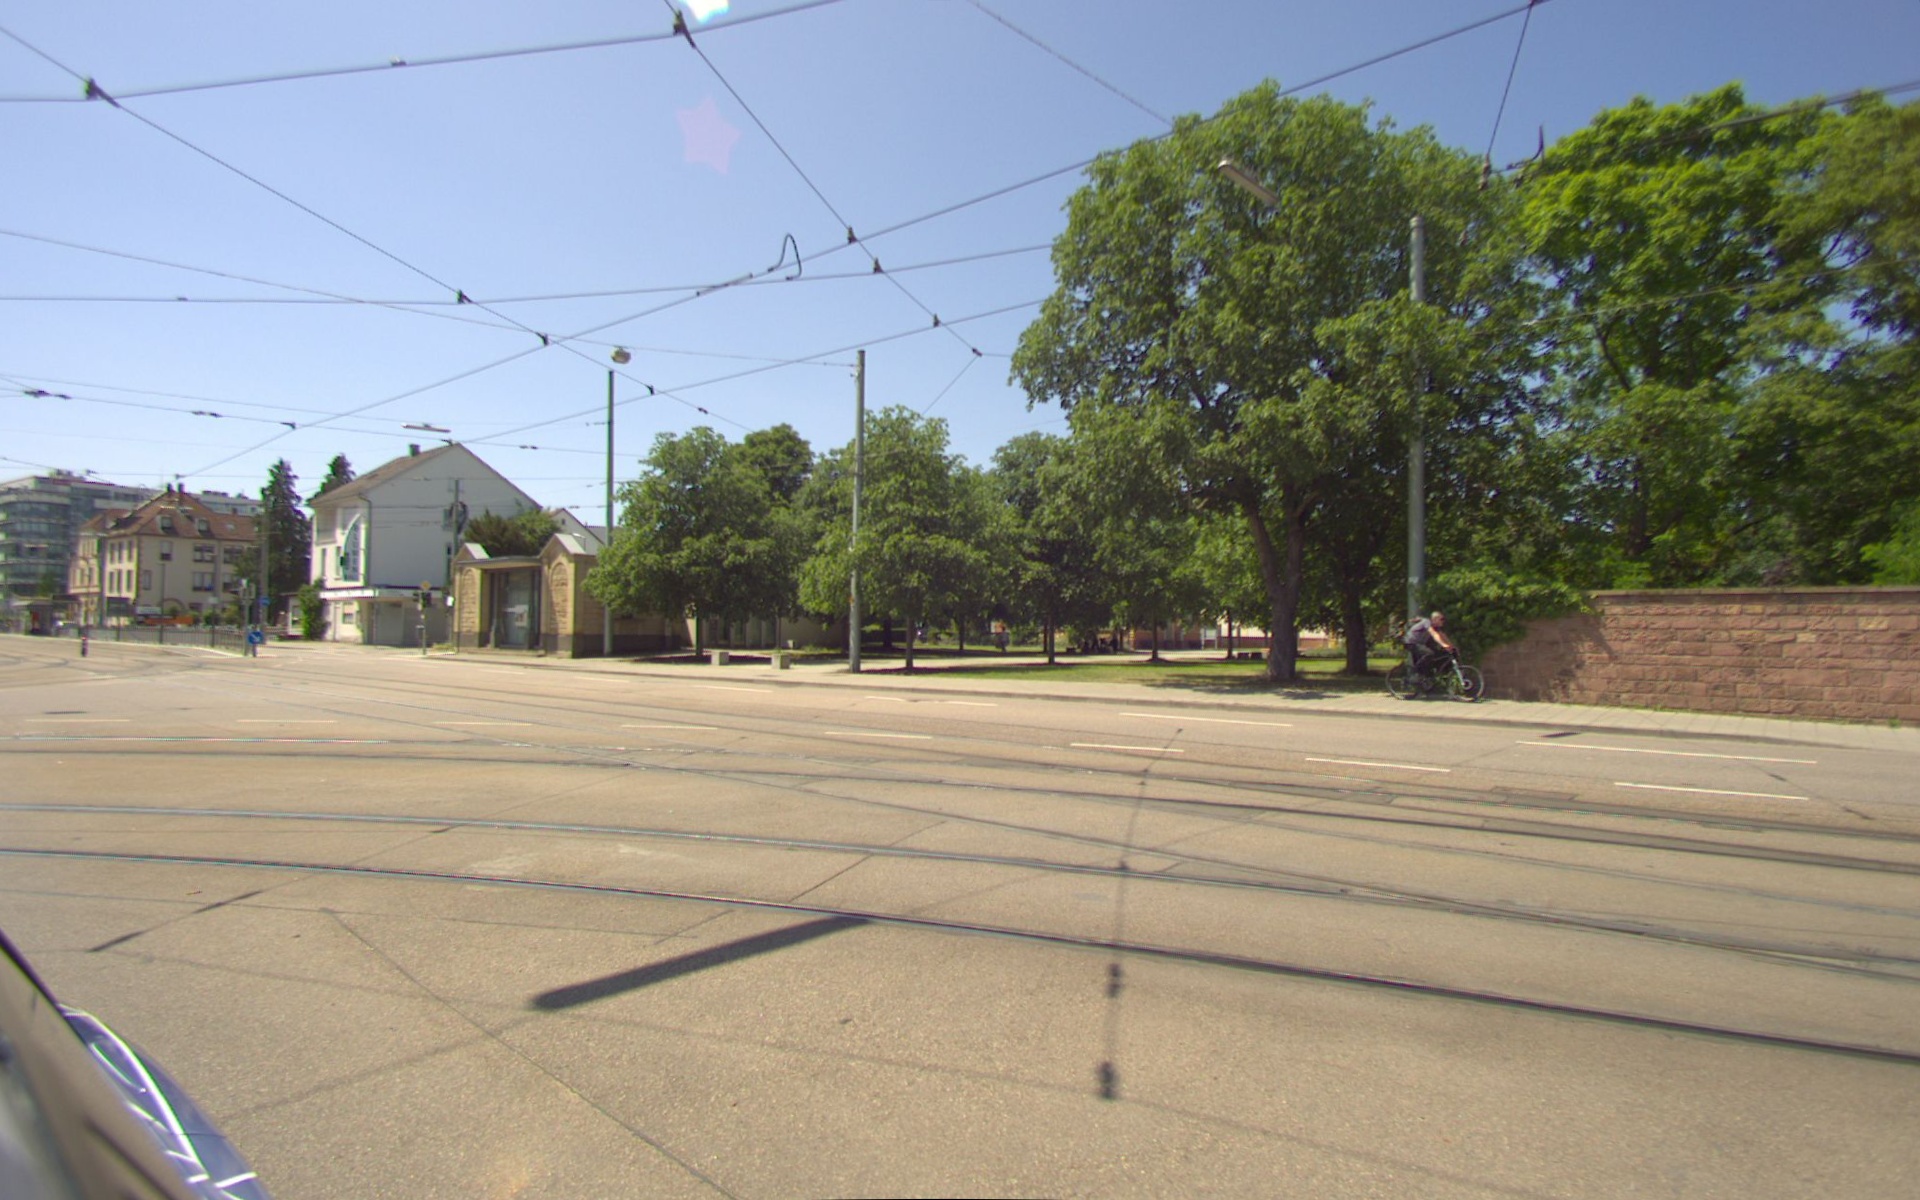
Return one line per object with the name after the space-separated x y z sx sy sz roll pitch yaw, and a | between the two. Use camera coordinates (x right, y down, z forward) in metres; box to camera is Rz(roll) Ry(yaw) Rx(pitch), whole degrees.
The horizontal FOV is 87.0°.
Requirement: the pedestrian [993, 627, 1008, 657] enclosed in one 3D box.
2.304 2.384 57.632 0.712 1.660 0.521 -1 -3 40 | pedestrian

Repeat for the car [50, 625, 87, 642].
-82.341 3.091 93.477 4.494 1.501 1.800 -1 -2 39 | car

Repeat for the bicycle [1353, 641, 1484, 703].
8.497 1.309 18.823 2.102 1.049 0.707 -1 -2 41 | bicycle

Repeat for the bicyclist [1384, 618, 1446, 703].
8.470 1.103 18.857 0.845 1.542 0.841 -1 -2 41 | bicyclist

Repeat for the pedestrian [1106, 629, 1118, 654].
9.352 2.539 62.316 0.532 1.494 0.521 -1 -2 39 | pedestrian
